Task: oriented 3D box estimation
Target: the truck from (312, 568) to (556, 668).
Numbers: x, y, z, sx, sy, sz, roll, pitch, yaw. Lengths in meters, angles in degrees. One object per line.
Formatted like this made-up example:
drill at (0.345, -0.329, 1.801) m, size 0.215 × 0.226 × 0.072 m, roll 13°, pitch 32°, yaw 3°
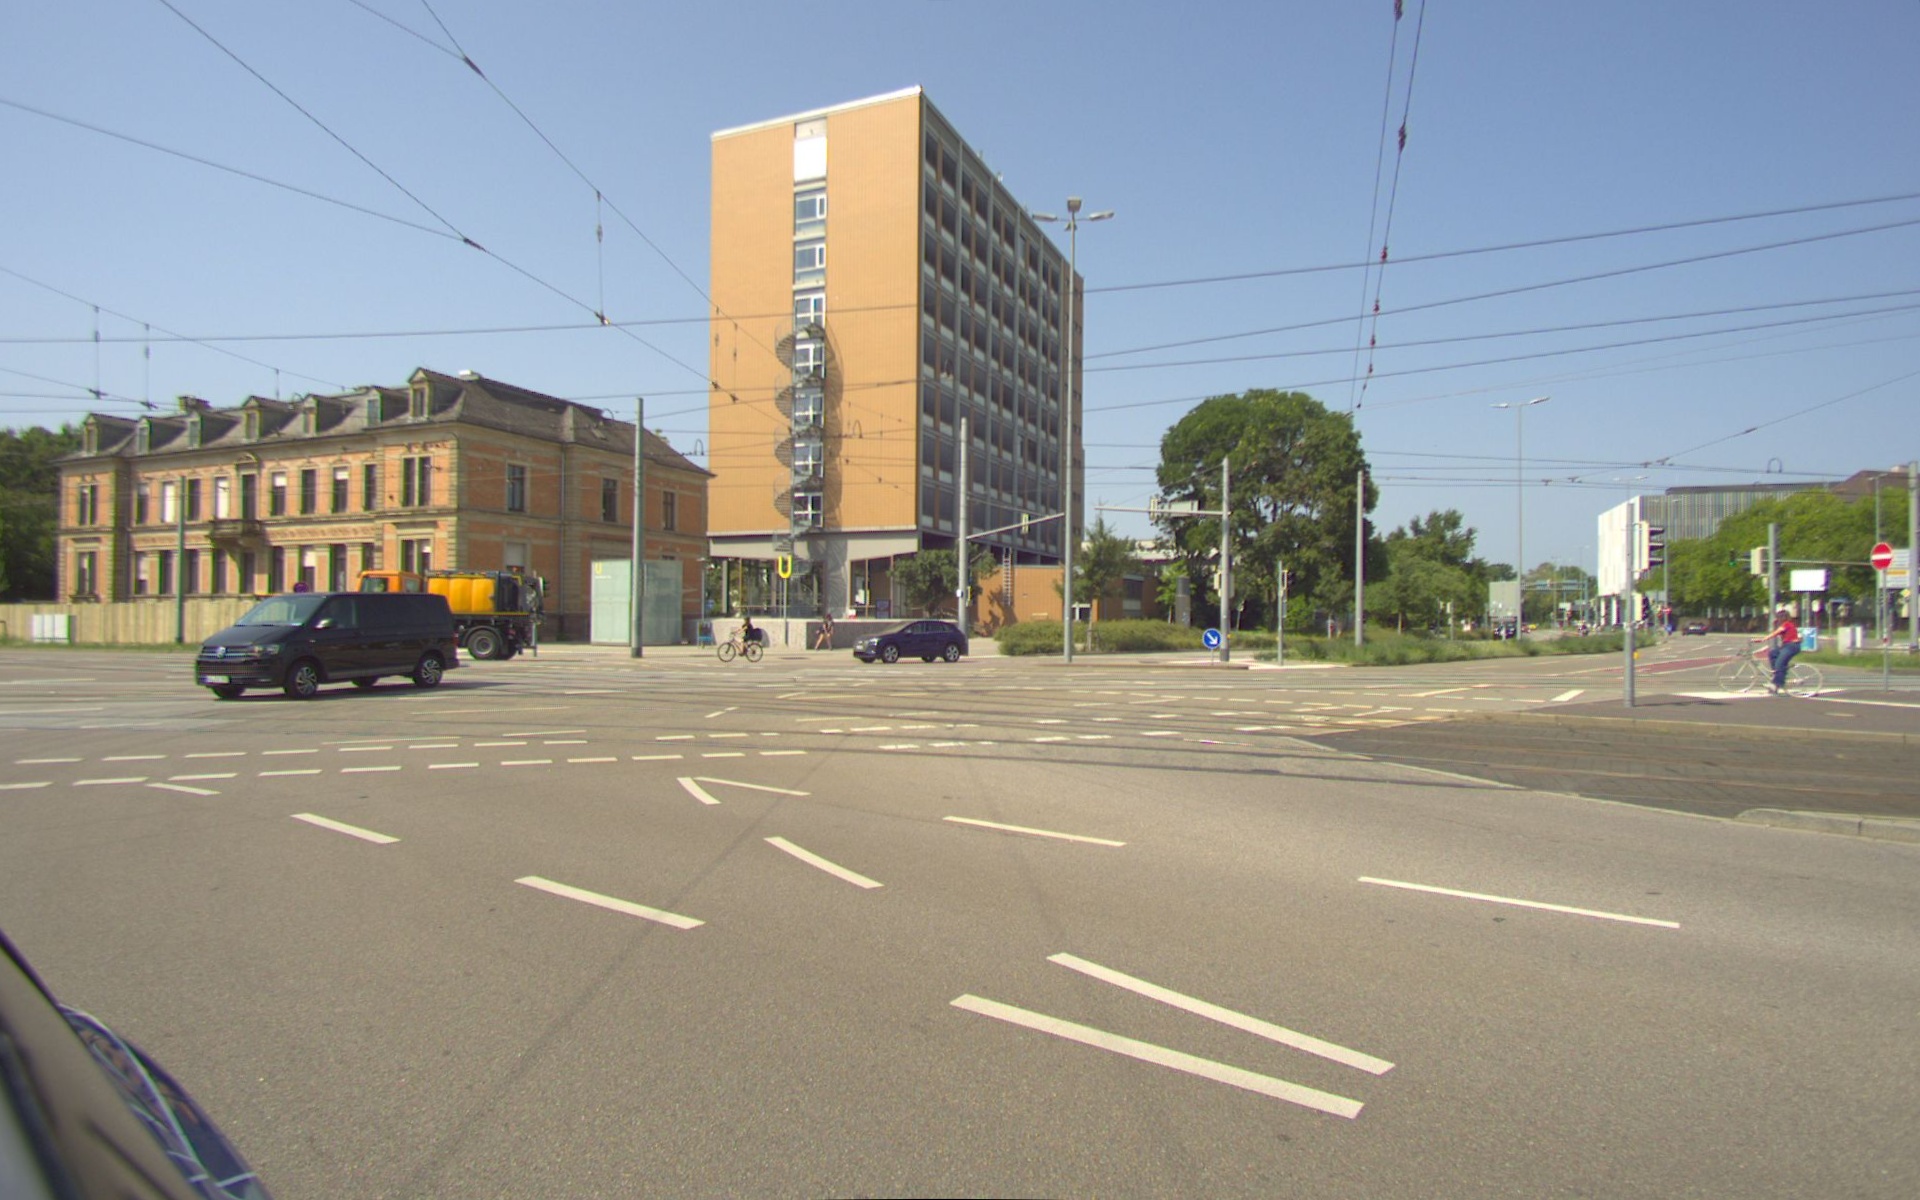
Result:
truck at (-18.380, 0.653, 35.822) m, size 7.075 × 3.254 × 3.048 m, roll -1°, pitch -2°, yaw -9°

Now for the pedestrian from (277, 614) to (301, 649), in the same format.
pedestrian at (-32.087, 1.511, 48.398) m, size 0.675 × 1.684 × 0.686 m, roll 0°, pitch -1°, yaw -8°

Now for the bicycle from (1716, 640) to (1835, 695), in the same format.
bicycle at (17.037, 1.385, 21.181) m, size 1.911 × 1.077 × 0.606 m, roll -1°, pitch -2°, yaw 40°

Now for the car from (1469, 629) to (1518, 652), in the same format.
car at (45.031, 3.401, 85.392) m, size 3.933 × 1.807 × 2.005 m, roll 0°, pitch -3°, yaw -35°

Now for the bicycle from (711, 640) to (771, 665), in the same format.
bicycle at (-8.248, 1.980, 38.125) m, size 2.133 × 0.906 × 0.643 m, roll 1°, pitch -2°, yaw -31°

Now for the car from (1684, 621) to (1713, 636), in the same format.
car at (83.867, 3.226, 114.868) m, size 4.587 × 1.665 × 1.904 m, roll 2°, pitch -2°, yaw -44°

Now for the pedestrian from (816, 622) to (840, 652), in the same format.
pedestrian at (-6.291, 1.779, 48.358) m, size 0.786 × 1.405 × 0.837 m, roll -1°, pitch -2°, yaw 38°

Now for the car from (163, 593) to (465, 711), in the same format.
car at (-12.151, 0.891, 19.516) m, size 1.884 × 1.945 × 4.858 m, roll 1°, pitch 0°, yaw 17°

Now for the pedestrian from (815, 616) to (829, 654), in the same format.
pedestrian at (-6.464, 1.636, 47.471) m, size 0.449 × 1.733 × 0.562 m, roll 0°, pitch -3°, yaw -27°

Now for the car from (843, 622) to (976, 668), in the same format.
car at (-1.866, 1.660, 38.161) m, size 4.620 × 1.653 × 2.005 m, roll 1°, pitch -2°, yaw -33°

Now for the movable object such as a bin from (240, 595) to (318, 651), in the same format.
movable object such as a bin at (-34.362, 1.161, 51.061) m, size 4.446 × 2.692 × 1.796 m, roll -1°, pitch -2°, yaw 35°

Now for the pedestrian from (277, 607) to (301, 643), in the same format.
pedestrian at (-31.997, 1.184, 48.256) m, size 0.675 × 1.684 × 0.686 m, roll 0°, pitch -1°, yaw -8°

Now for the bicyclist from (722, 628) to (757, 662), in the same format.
bicyclist at (-8.322, 1.693, 38.202) m, size 1.087 × 1.276 × 0.859 m, roll 1°, pitch -2°, yaw -31°

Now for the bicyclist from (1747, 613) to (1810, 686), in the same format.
bicyclist at (17.092, 1.019, 21.142) m, size 0.979 × 1.470 × 0.866 m, roll -1°, pitch -2°, yaw 40°
